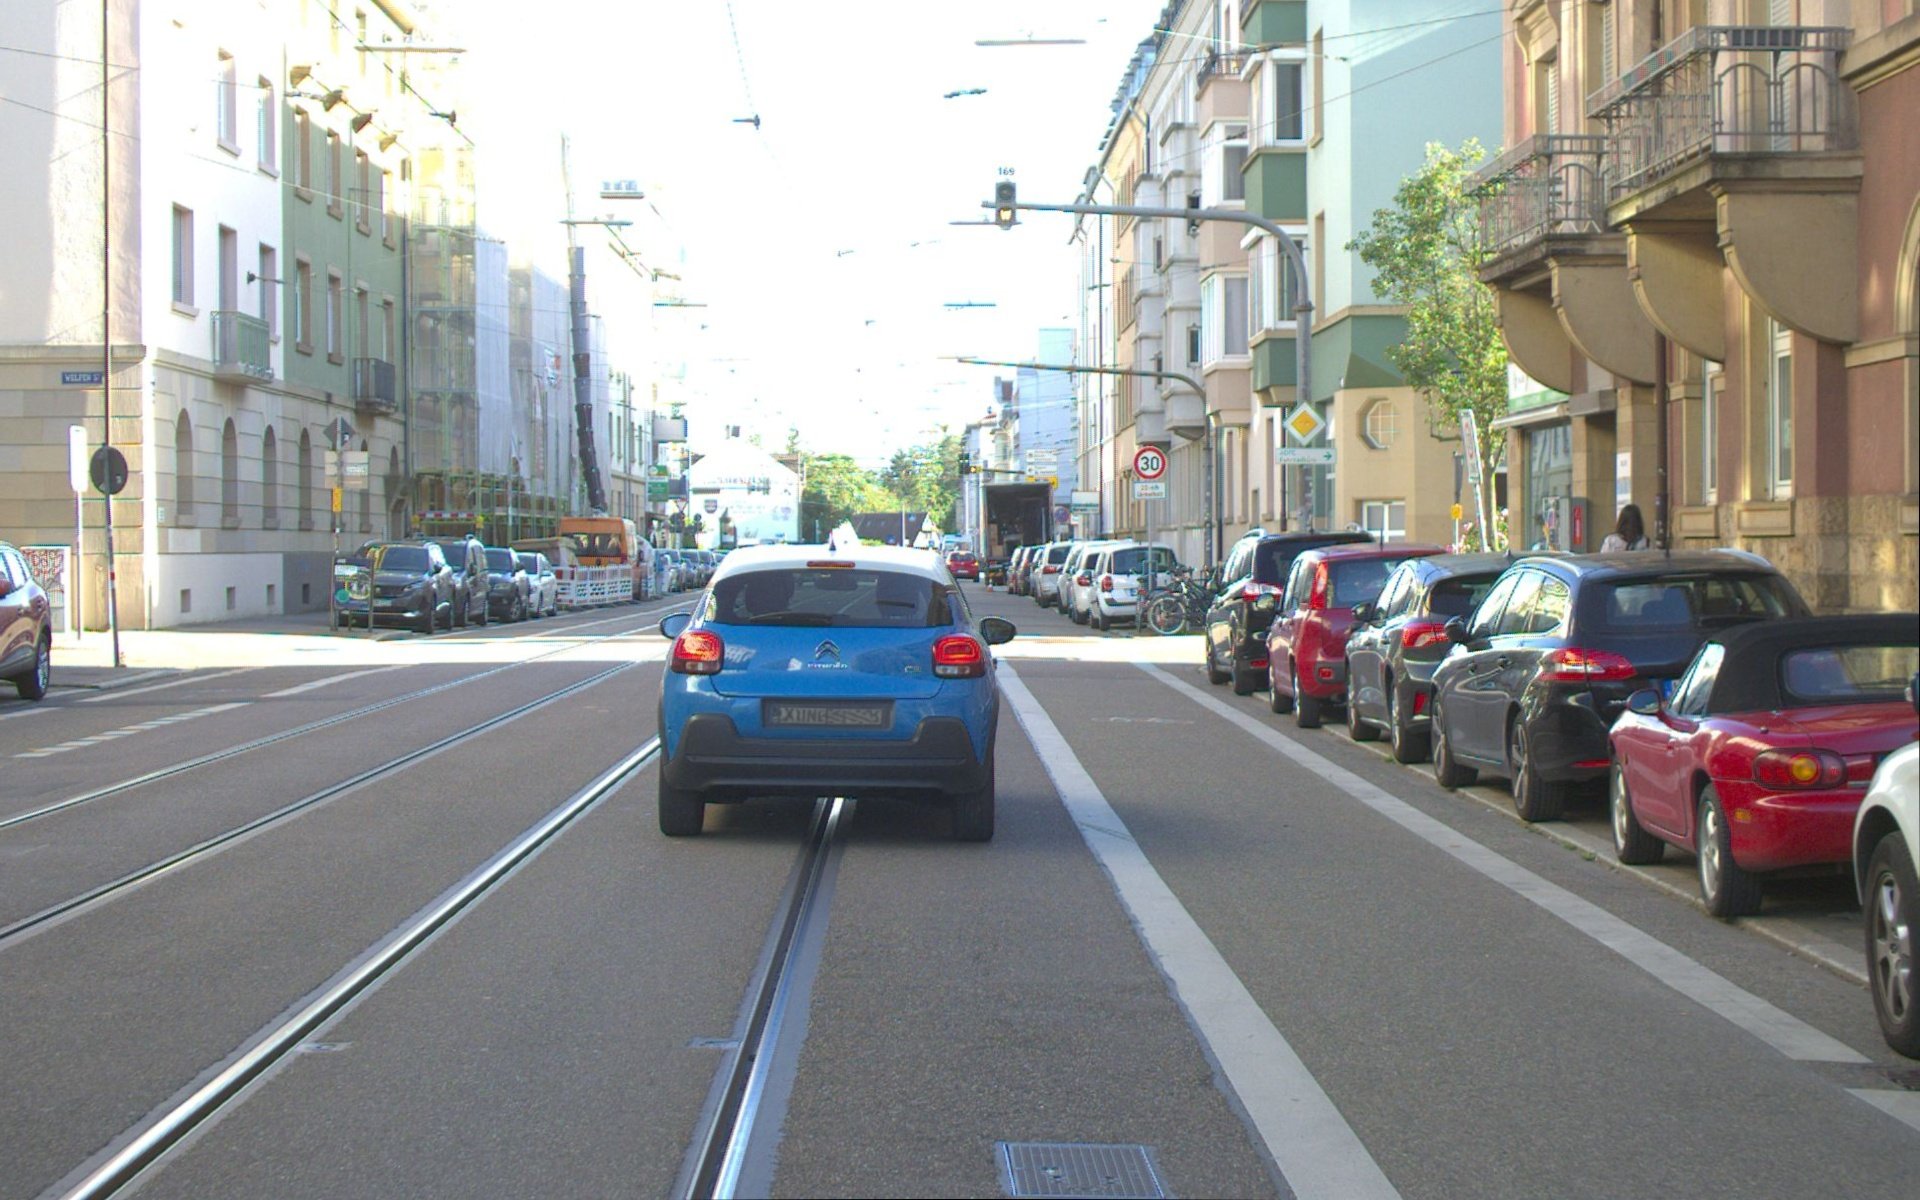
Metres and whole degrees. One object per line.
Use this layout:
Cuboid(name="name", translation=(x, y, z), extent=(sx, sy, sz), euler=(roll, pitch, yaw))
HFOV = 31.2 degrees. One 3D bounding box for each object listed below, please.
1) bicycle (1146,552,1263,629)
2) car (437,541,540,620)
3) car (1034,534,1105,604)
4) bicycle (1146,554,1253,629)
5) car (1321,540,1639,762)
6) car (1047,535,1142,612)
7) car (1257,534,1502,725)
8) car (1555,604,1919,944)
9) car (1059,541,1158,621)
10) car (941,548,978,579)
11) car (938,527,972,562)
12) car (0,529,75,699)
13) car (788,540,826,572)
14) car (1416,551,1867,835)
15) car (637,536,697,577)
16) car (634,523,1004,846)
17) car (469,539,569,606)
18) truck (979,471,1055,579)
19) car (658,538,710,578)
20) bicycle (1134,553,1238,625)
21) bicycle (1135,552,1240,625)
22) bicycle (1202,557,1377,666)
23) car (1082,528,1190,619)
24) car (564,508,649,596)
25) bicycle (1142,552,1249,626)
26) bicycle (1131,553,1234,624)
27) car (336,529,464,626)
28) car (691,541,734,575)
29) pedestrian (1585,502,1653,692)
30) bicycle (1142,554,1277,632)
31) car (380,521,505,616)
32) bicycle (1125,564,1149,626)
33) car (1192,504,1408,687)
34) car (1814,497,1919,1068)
Cuboid(name="bicycle", translation=(4.036, -0.154, 56.826), extent=(1.842, 1.150, 0.469), euler=(-4, 1, 0))
Cuboid(name="car", translation=(-10.309, -0.463, 75.469), extent=(1.783, 1.621, 4.610), euler=(2, 1, -3))
Cuboid(name="car", translation=(2.938, -0.853, 92.807), extent=(1.730, 1.821, 4.687), euler=(0, 1, 0))
Cuboid(name="bicycle", translation=(4.041, -0.146, 58.064), extent=(1.722, 1.150, 0.469), euler=(-4, 1, 0))
Cuboid(name="car", translation=(3.783, 0.310, 25.676), extent=(1.654, 1.508, 4.474), euler=(0, 1, -1))
Cuboid(name="car", translation=(3.132, -0.650, 80.764), extent=(1.654, 1.746, 4.604), euler=(0, 1, -5))
Cuboid(name="car", translation=(3.650, 0.216, 30.486), extent=(1.753, 1.589, 3.730), euler=(0, 1, 1))
Cuboid(name="car", translation=(3.870, 0.684, 15.703), extent=(1.654, 1.245, 4.505), euler=(0, 1, 2))
Cuboid(name="car", translation=(2.985, -0.405, 69.672), extent=(1.783, 1.570, 4.326), euler=(0, 1, 0))
Cuboid(name="car", translation=(-0.043, -1.775, 168.272), extent=(1.765, 1.481, 4.032), euler=(0, 1, 0))
Cuboid(name="car", translation=(-0.358, -3.681, 227.002), extent=(2.220, 2.276, 4.084), euler=(0, 1, 0))
Cuboid(name="car", translation=(-10.030, 0.099, 33.579), extent=(1.783, 1.601, 4.398), euler=(2, 1, -3))
Cuboid(name="car", translation=(-7.909, -2.264, 178.031), extent=(1.826, 1.626, 4.490), euler=(0, 1, 0))
Cuboid(name="car", translation=(3.881, 0.456, 20.316), extent=(1.654, 1.478, 4.475), euler=(0, 1, -2))
Cuboid(name="car", translation=(-11.872, -1.784, 139.557), extent=(2.144, 1.616, 4.000), euler=(-1, 1, -1))
Cuboid(name="car", translation=(-0.692, 0.371, 18.524), extent=(1.735, 1.502, 3.993), euler=(2, 1, 0))
Cuboid(name="car", translation=(-10.466, -0.669, 81.773), extent=(1.718, 1.497, 4.388), euler=(2, 1, 1))
Cuboid(name="truck", translation=(2.194, -2.909, 134.866), extent=(2.853, 4.069, 11.271), euler=(0, 1, 1))
Cuboid(name="car", translation=(-11.641, -1.781, 145.334), extent=(1.826, 1.626, 4.849), euler=(0, 1, 0))
Cuboid(name="bicycle", translation=(3.932, -0.199, 59.913), extent=(1.722, 1.150, 0.469), euler=(-4, 1, 0))
Cuboid(name="bicycle", translation=(3.920, -0.207, 59.292), extent=(1.722, 1.150, 0.469), euler=(-4, 1, 0))
Cuboid(name="bicycle", translation=(3.843, 0.132, 40.171), extent=(1.959, 1.223, 0.527), euler=(-1, 1, 0))
Cuboid(name="car", translation=(3.242, -0.514, 63.923), extent=(1.783, 1.626, 4.000), euler=(0, 1, 0))
Cuboid(name="car", translation=(-10.159, -1.400, 99.157), extent=(2.144, 2.467, 4.981), euler=(0, 1, -3))
Cuboid(name="bicycle", translation=(4.016, -0.196, 58.611), extent=(1.722, 1.150, 0.469), euler=(-4, 1, 0))
Cuboid(name="bicycle", translation=(3.920, -0.204, 60.541), extent=(1.722, 1.150, 0.469), euler=(-4, 1, 0))
Cuboid(name="car", translation=(-10.392, -0.443, 64.070), extent=(1.783, 1.684, 4.668), euler=(2, 1, -3))
Cuboid(name="car", translation=(-11.899, -2.019, 165.407), extent=(1.826, 1.626, 3.905), euler=(0, 1, -1))
Cuboid(name="pedestrian", translation=(5.875, -0.032, 30.651), extent=(0.513, 1.681, 0.448), euler=(0, 1, -1))
Cuboid(name="bicycle", translation=(4.068, -0.119, 56.135), extent=(2.086, 1.150, 0.848), euler=(-3, 1, 0))
Cuboid(name="car", translation=(-10.468, -0.659, 69.842), extent=(1.783, 1.810, 4.528), euler=(2, 1, 0))
Cuboid(name="bicycle", translation=(3.035, -0.093, 59.091), extent=(0.353, 1.041, 1.728), euler=(0, 1, 1))
Cuboid(name="car", translation=(3.555, -0.080, 36.662), extent=(1.753, 1.730, 4.507), euler=(-3, 1, 0))
Cuboid(name="car", translation=(3.759, 0.555, 9.115), extent=(1.843, 1.685, 4.505), euler=(0, 1, 0))
